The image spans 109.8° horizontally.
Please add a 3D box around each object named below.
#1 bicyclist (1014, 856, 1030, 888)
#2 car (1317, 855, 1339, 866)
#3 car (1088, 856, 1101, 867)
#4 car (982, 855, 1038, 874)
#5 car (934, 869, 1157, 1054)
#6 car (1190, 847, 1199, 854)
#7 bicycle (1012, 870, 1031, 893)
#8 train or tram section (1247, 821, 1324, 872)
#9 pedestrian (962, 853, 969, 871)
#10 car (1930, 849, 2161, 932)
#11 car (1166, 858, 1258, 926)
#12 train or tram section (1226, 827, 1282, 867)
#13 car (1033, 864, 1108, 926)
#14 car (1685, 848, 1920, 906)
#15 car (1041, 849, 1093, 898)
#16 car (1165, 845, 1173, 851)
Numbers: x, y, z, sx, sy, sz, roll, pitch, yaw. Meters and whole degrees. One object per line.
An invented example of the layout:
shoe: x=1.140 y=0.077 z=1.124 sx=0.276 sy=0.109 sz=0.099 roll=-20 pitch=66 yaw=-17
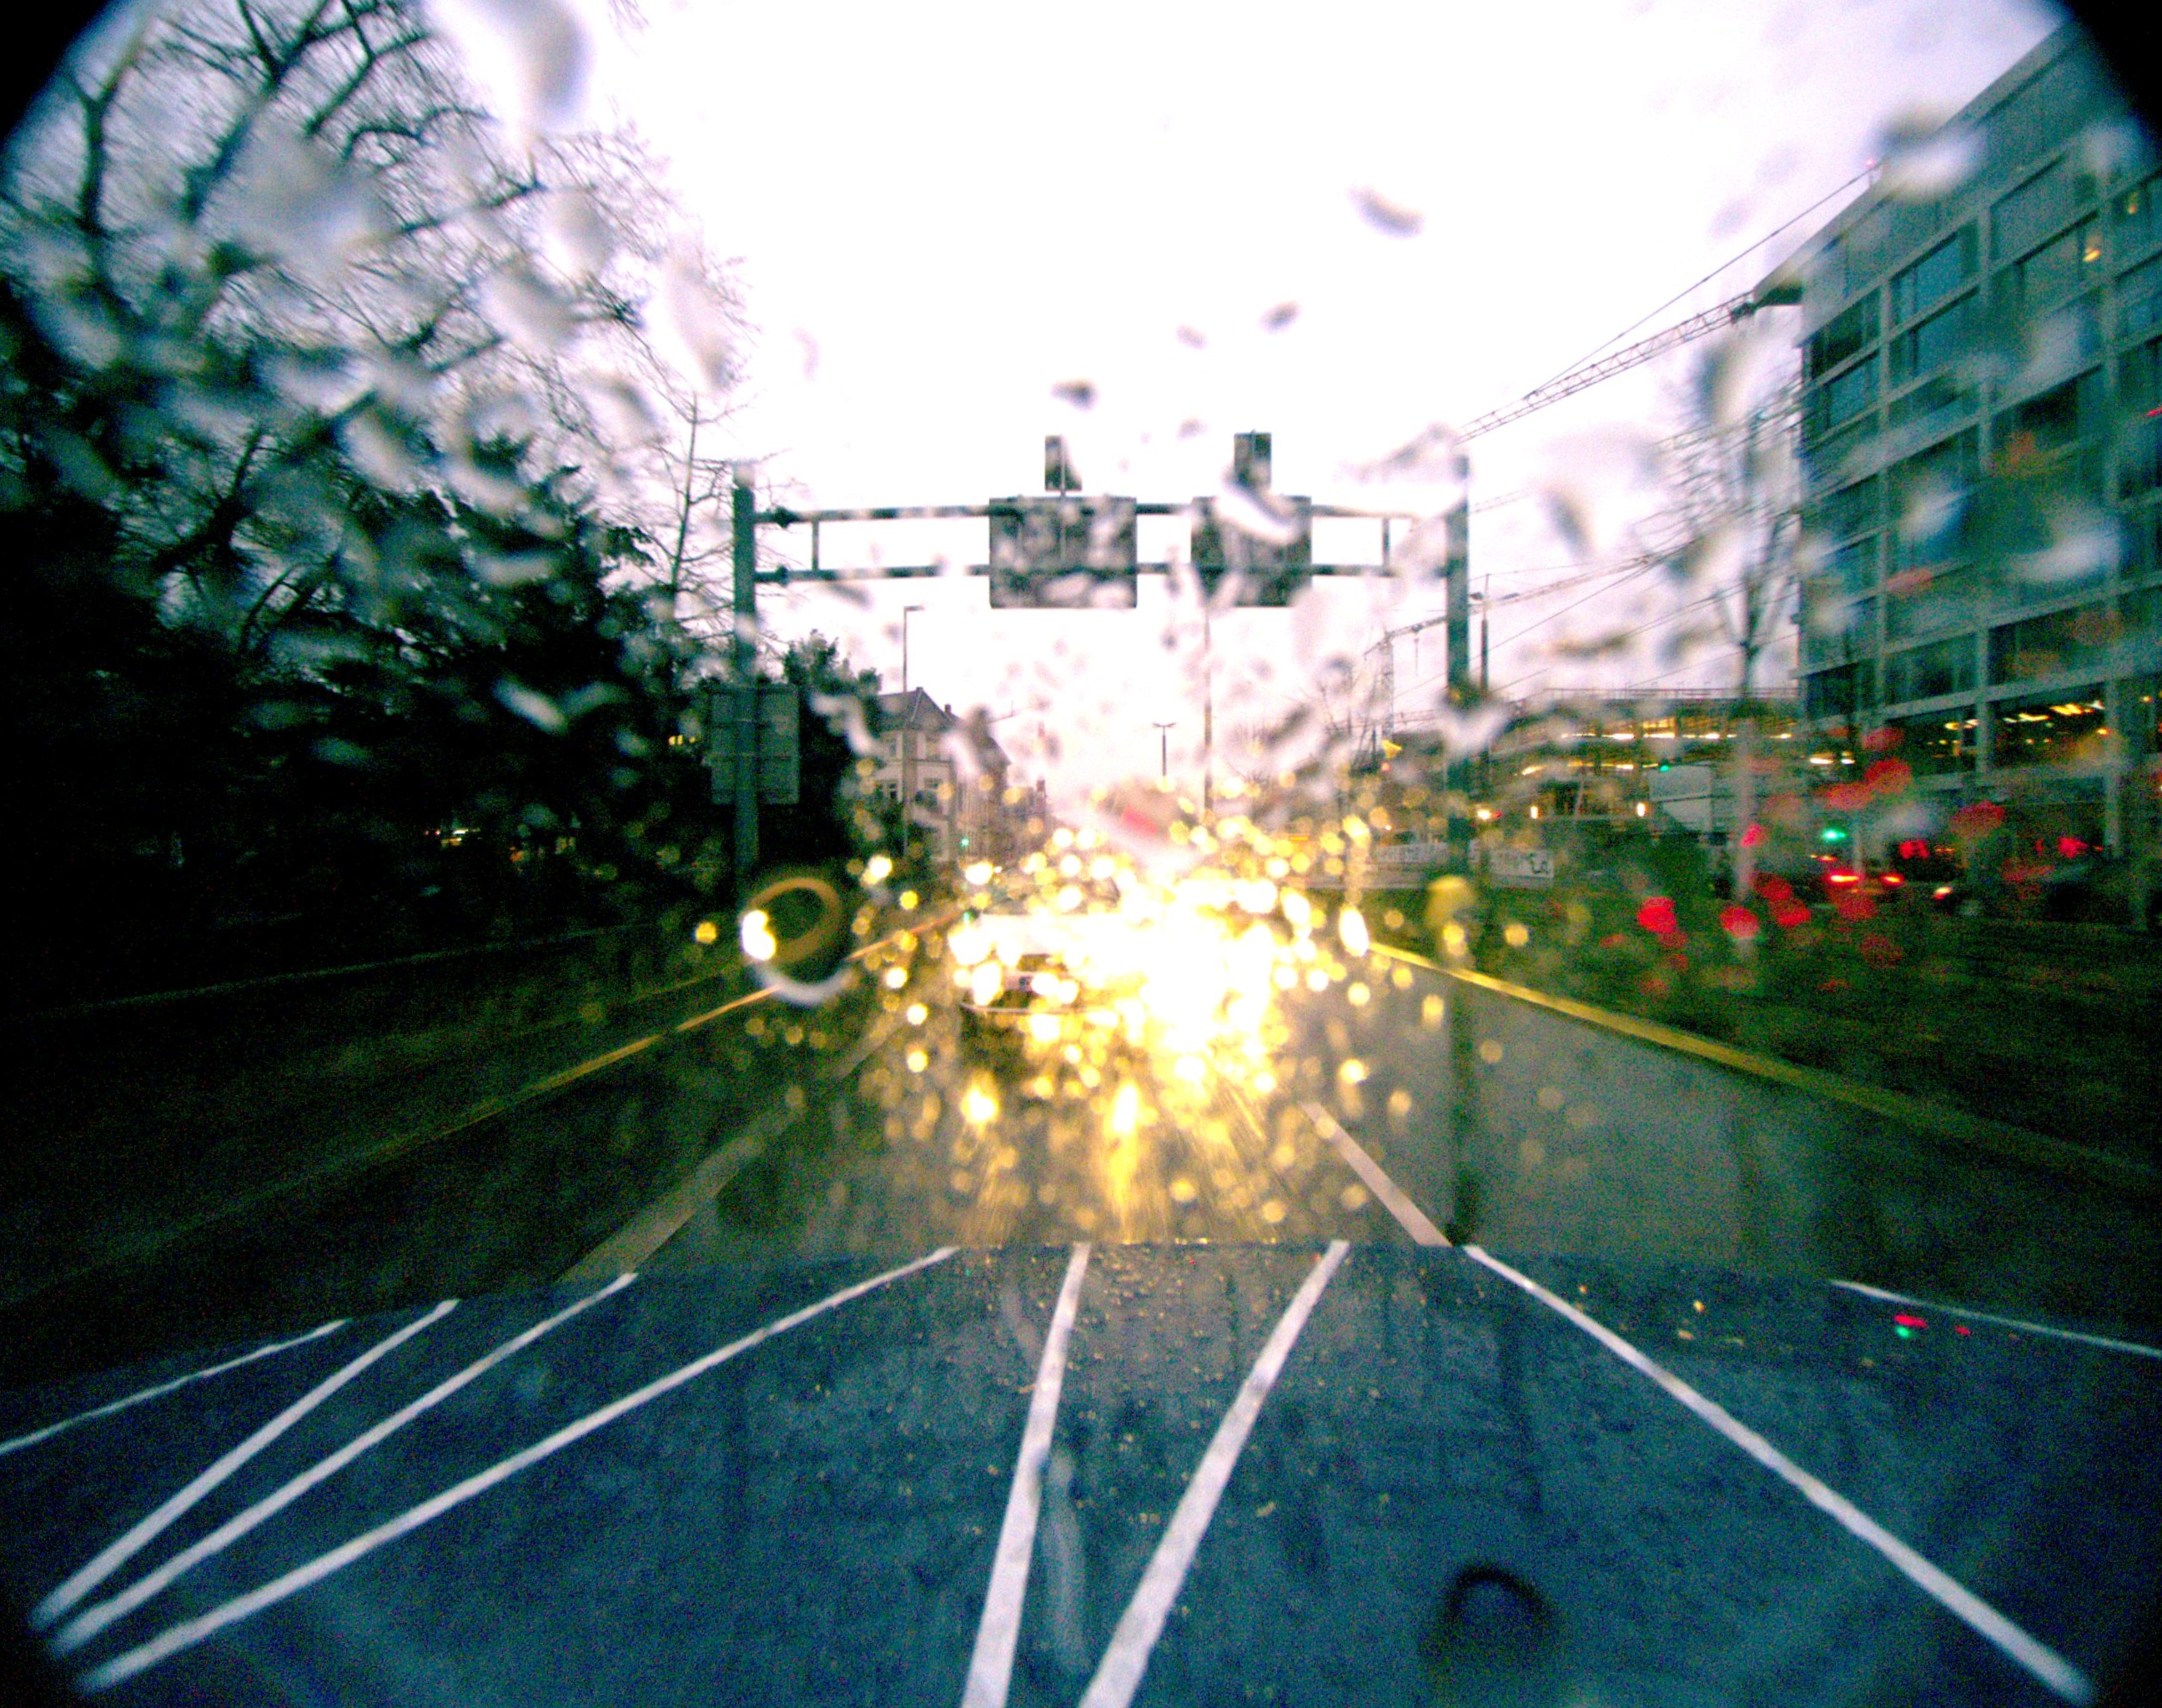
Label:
bicyclist: x=-2.647 y=0.805 z=34.197 sx=0.647 sy=1.381 sz=0.890 roll=0 pitch=1 yaw=1
car: x=35.399 y=0.925 z=108.910 sx=1.998 sy=1.556 sz=4.001 roll=0 pitch=0 yaw=3
car: x=1.870 y=1.052 z=105.573 sx=1.767 sy=1.363 sz=3.981 roll=-2 pitch=1 yaw=1
car: x=-5.479 y=0.821 z=59.055 sx=4.008 sy=1.403 sz=1.872 roll=-1 pitch=0 yaw=-40
car: x=-0.298 y=0.931 z=8.271 sx=1.798 sy=1.363 sz=3.981 roll=-2 pitch=1 yaw=0
car: x=33.395 y=-1.024 z=223.243 sx=1.999 sy=1.812 sz=3.999 roll=0 pitch=0 yaw=-2
bicycle: x=-2.648 y=1.234 z=34.222 sx=0.647 sy=0.961 sz=2.046 roll=0 pitch=0 yaw=1
train or tram section: x=15.538 y=-0.538 z=59.062 sx=2.963 sy=3.466 sz=14.269 roll=0 pitch=0 yaw=3
pedestrian: x=-9.594 y=0.680 z=63.105 sx=0.521 sy=1.501 sz=0.588 roll=0 pitch=1 yaw=1
car: x=20.234 y=0.663 z=14.842 sx=2.001 sy=1.488 sz=4.444 roll=-1 pitch=0 yaw=-15
car: x=3.040 y=0.840 z=18.370 sx=1.766 sy=1.363 sz=3.982 roll=-2 pitch=1 yaw=4
train or tram section: x=16.448 y=-0.598 z=73.353 sx=2.963 sy=3.466 sz=14.321 roll=0 pitch=0 yaw=3
car: x=-0.247 y=0.979 z=19.842 sx=1.728 sy=1.318 sz=3.981 roll=-2 pitch=1 yaw=0
car: x=20.154 y=0.571 z=21.635 sx=1.998 sy=1.459 sz=5.034 roll=0 pitch=0 yaw=1
car: x=-0.489 y=0.665 z=28.430 sx=1.781 sy=1.666 sz=3.981 roll=-2 pitch=1 yaw=0
car: x=29.062 y=-2.086 z=250.622 sx=1.998 sy=2.002 sz=4.000 roll=0 pitch=0 yaw=1
